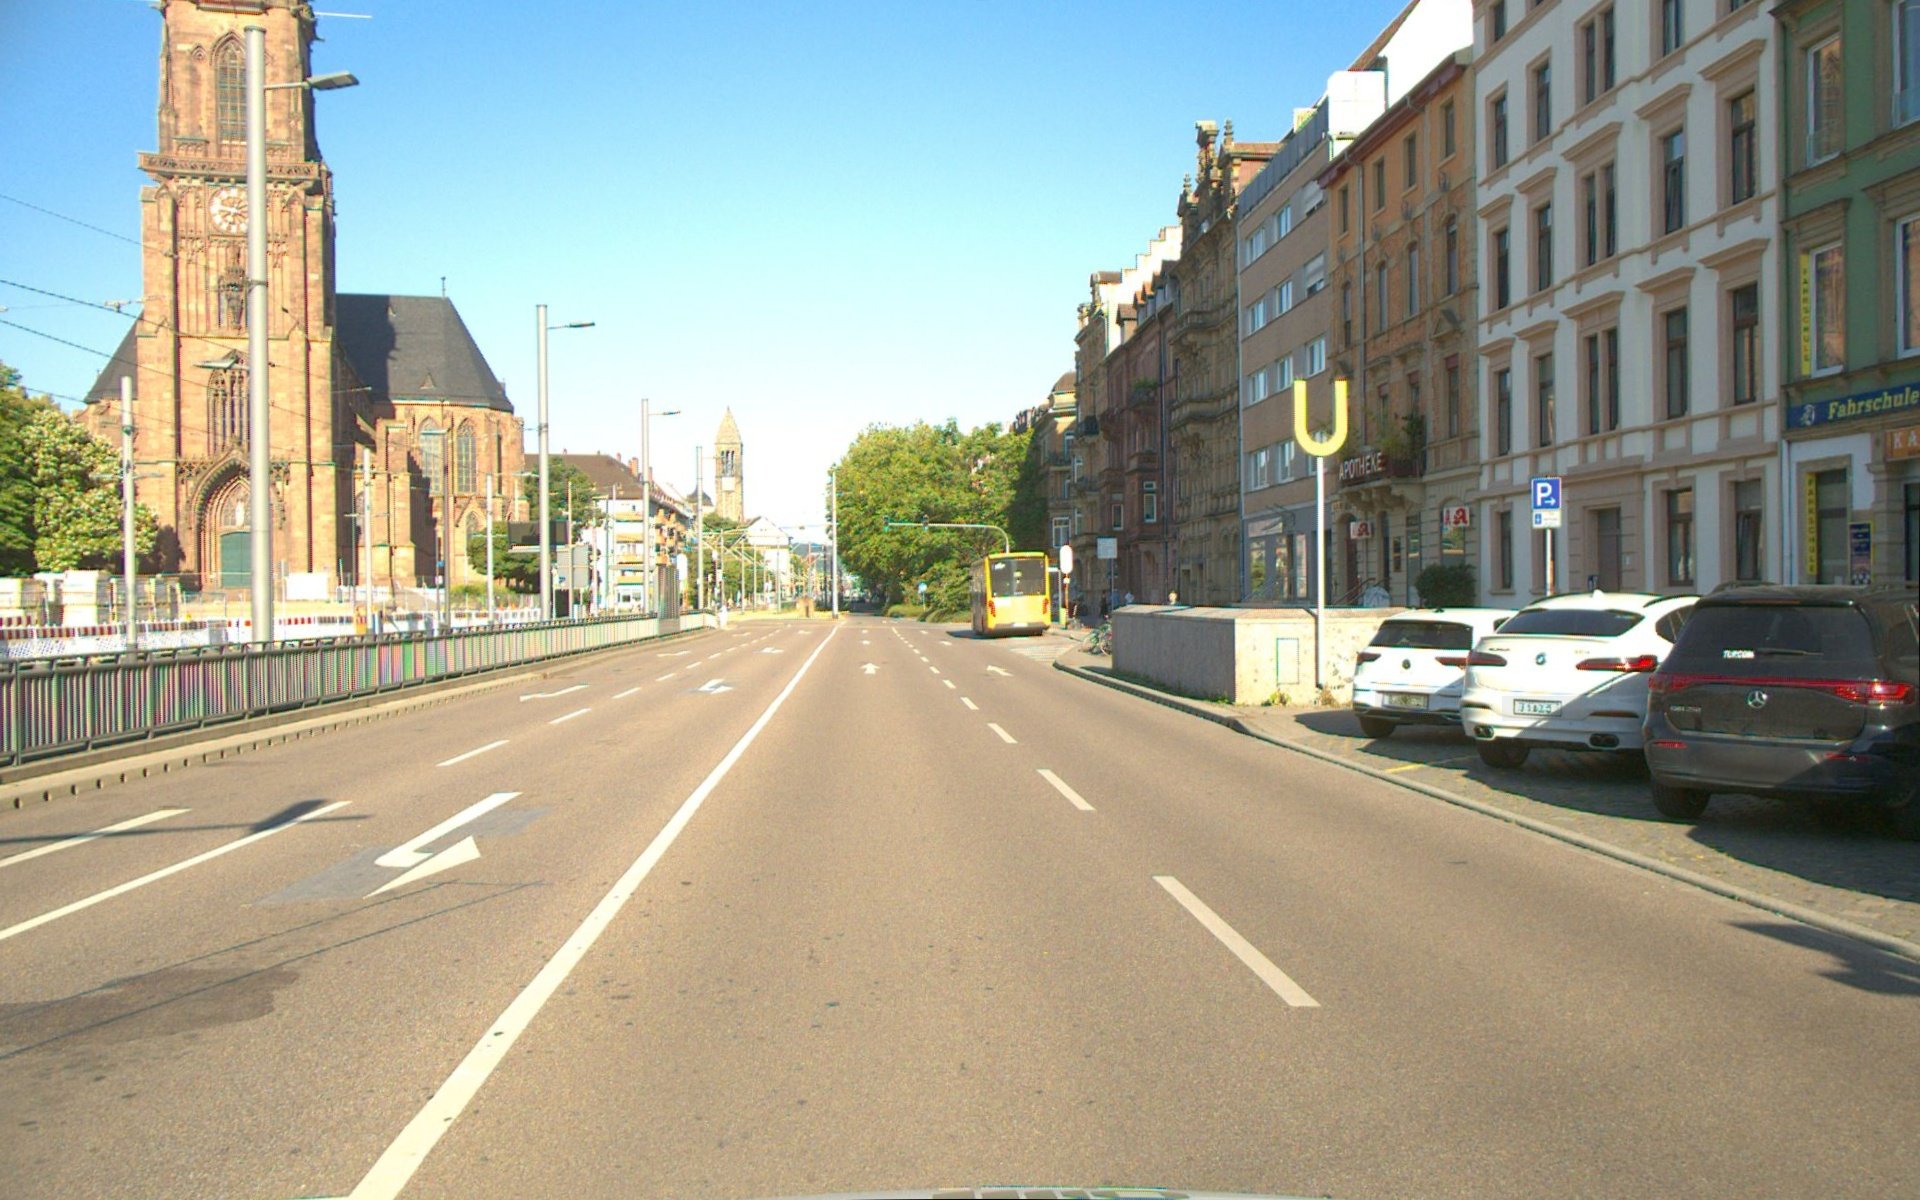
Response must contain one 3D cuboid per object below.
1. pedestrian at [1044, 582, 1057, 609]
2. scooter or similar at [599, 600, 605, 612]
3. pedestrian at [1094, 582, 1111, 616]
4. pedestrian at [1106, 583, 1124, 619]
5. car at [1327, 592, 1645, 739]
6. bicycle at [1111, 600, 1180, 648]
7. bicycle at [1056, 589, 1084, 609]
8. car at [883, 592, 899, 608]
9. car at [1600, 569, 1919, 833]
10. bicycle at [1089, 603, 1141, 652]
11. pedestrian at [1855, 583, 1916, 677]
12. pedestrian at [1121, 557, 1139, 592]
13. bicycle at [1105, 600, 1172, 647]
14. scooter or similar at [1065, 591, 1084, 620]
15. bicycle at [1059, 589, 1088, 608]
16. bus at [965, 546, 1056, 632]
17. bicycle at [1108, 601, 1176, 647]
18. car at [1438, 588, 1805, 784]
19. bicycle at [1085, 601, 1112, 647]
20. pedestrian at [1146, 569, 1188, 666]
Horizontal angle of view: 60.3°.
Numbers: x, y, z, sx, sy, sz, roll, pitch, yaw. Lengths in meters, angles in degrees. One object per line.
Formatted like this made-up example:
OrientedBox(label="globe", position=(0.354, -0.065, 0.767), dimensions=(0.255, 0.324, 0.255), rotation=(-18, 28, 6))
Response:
OrientedBox(label="pedestrian", position=(5.817, -0.300, 106.731), dimensions=(0.689, 1.684, 1.136), rotation=(-1, 0, -4))
OrientedBox(label="scooter or similar", position=(-41.545, 0.680, 191.966), dimensions=(0.393, 1.283, 1.230), rotation=(-2, 3, -3))
OrientedBox(label="pedestrian", position=(8.216, -0.058, 95.299), dimensions=(0.806, 1.963, 1.136), rotation=(-1, 0, -4))
OrientedBox(label="pedestrian", position=(8.739, 0.049, 93.115), dimensions=(0.806, 1.963, 1.136), rotation=(-1, 0, -4))
OrientedBox(label="car", position=(6.250, 0.682, 19.411), dimensions=(1.929, 1.489, 4.084), rotation=(-1, 0, 45))
OrientedBox(label="bicycle", position=(4.843, 0.625, 43.230), dimensions=(1.730, 1.208, 0.470), rotation=(0, 1, -4))
OrientedBox(label="bicycle", position=(7.511, -0.051, 112.999), dimensions=(1.853, 1.260, 0.488), rotation=(-2, -1, -16))
OrientedBox(label="car", position=(-7.363, -0.029, 176.126), dimensions=(1.611, 1.537, 4.180), rotation=(-2, 1, -3))
OrientedBox(label="car", position=(6.564, 0.605, 12.375), dimensions=(1.926, 1.625, 4.224), rotation=(1, 1, 43))
OrientedBox(label="bicycle", position=(3.871, 0.678, 41.407), dimensions=(0.463, 1.167, 1.756), rotation=(-1, 1, -26))
OrientedBox(label="pedestrian", position=(13.441, 0.430, 24.028), dimensions=(0.506, 1.342, 0.590), rotation=(-1, 0, -11))
OrientedBox(label="pedestrian", position=(9.586, -1.431, 93.194), dimensions=(0.806, 1.963, 1.136), rotation=(-1, 0, -4))
OrientedBox(label="bicycle", position=(4.781, 0.622, 44.254), dimensions=(1.730, 1.208, 0.470), rotation=(0, 1, -4))
OrientedBox(label="scooter or similar", position=(5.166, 0.256, 74.734), dimensions=(0.424, 1.271, 1.290), rotation=(-2, -1, -13))
OrientedBox(label="bicycle", position=(7.678, -0.099, 111.854), dimensions=(1.853, 1.260, 0.488), rotation=(-2, -1, -16))
OrientedBox(label="bus", position=(1.979, -0.487, 70.561), dimensions=(2.661, 3.236, 12.532), rotation=(-2, 0, -4))
OrientedBox(label="bicycle", position=(4.818, 0.631, 43.736), dimensions=(1.730, 1.208, 0.470), rotation=(0, 1, -4))
OrientedBox(label="car", position=(6.401, 0.694, 15.752), dimensions=(1.926, 1.598, 4.225), rotation=(1, 1, 42))
OrientedBox(label="bicycle", position=(3.686, 0.629, 44.104), dimensions=(0.459, 1.167, 1.770), rotation=(0, 1, -3))
OrientedBox(label="pedestrian", position=(4.543, 0.378, 36.324), dimensions=(0.736, 2.048, 0.698), rotation=(-2, 3, -3))
